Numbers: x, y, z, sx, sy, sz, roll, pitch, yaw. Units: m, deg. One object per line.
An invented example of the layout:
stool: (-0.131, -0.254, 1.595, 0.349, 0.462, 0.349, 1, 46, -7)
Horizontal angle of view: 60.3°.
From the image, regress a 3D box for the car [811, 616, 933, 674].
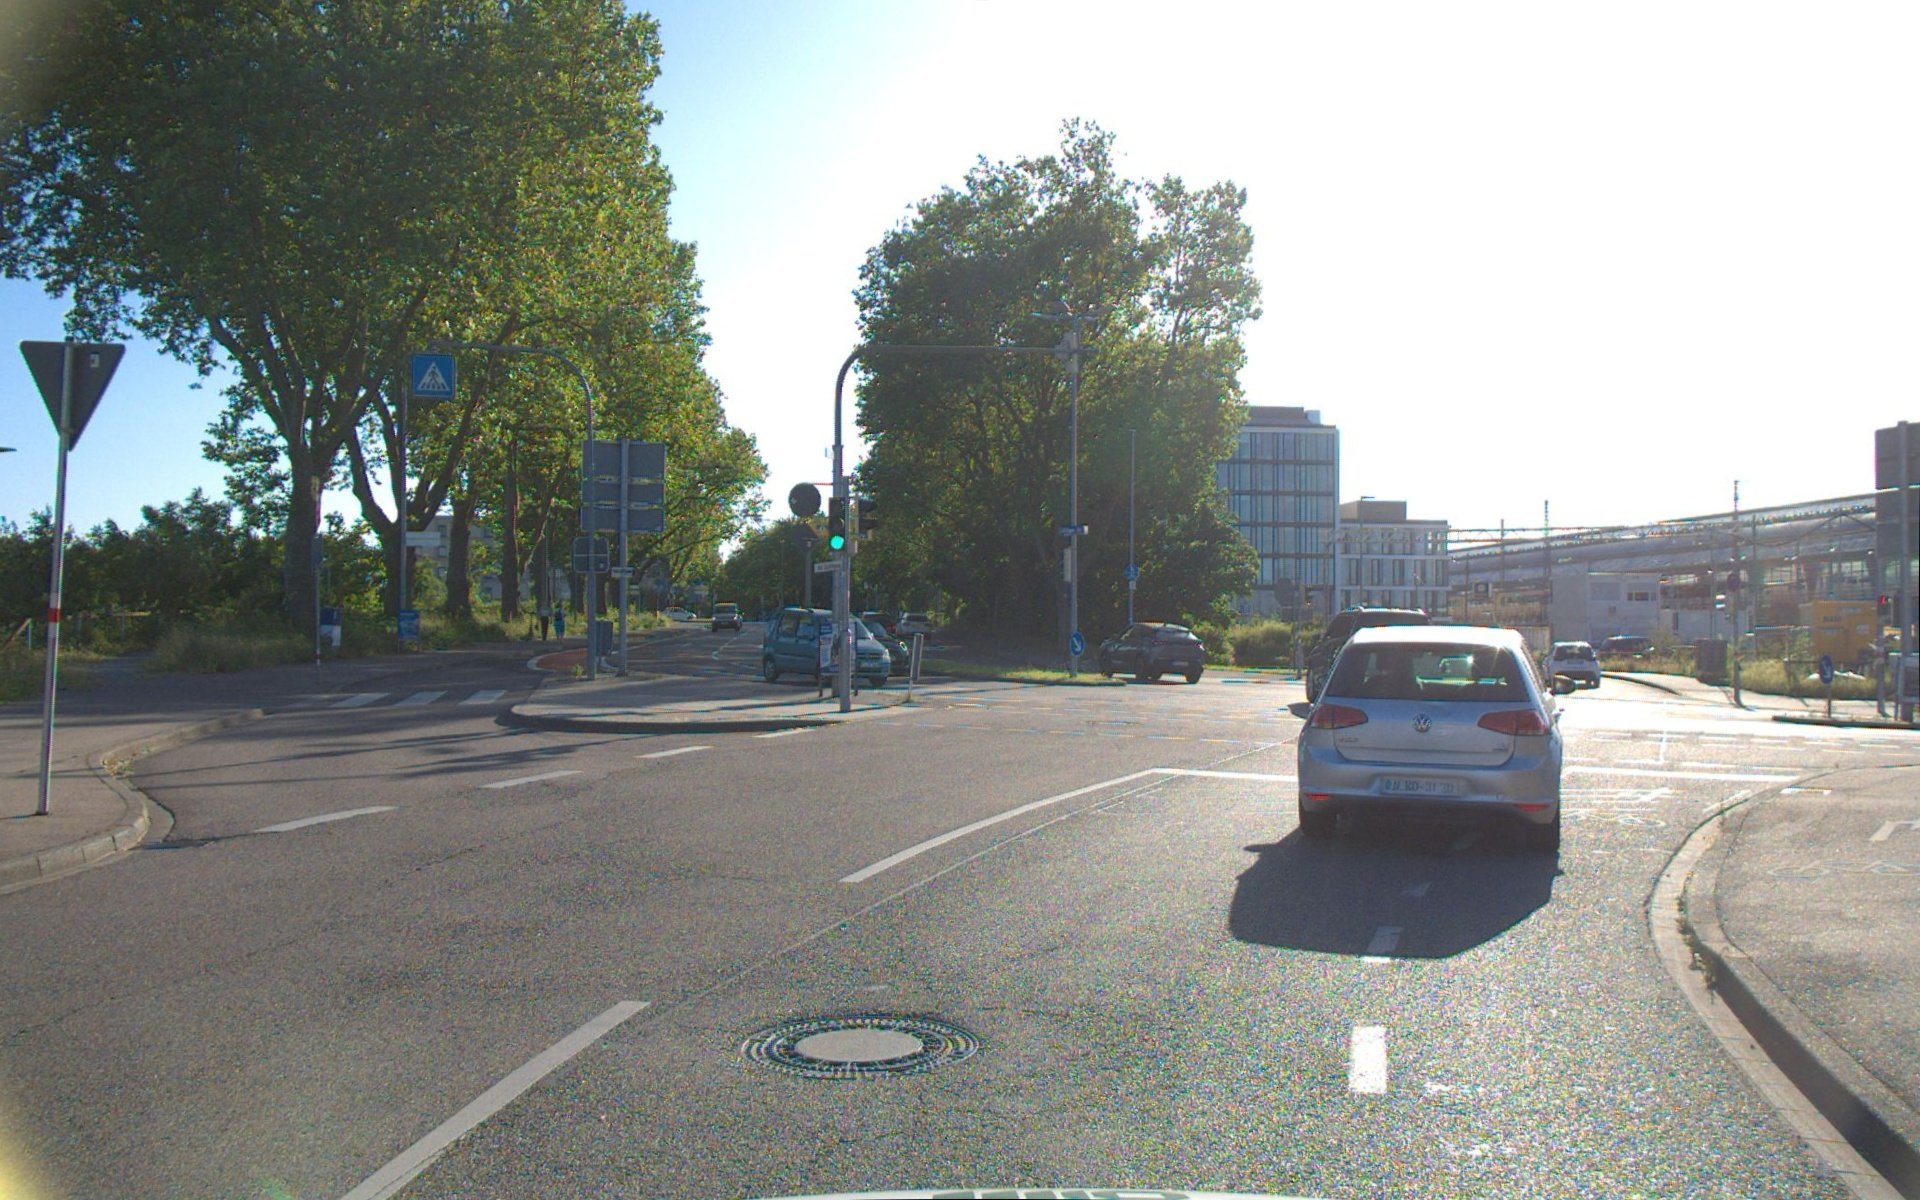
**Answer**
car: (-2.402, 1.188, 44.286, 1.879, 1.452, 3.903, 2, -1, -26)

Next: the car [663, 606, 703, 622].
car: (-29.795, 1.502, 177.803, 3.927, 1.669, 1.989, 1, -1, -19)

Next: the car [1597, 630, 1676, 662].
car: (39.024, 2.657, 95.472, 3.904, 1.735, 1.616, 2, -1, 1)

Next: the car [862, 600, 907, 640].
car: (-3.535, 0.944, 76.821, 1.818, 1.774, 4.260, 1, -1, -6)

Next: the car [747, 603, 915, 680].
car: (-3.000, 0.925, 37.815, 1.901, 1.664, 4.065, 2, -1, -38)

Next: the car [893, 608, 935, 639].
car: (-2.624, 1.320, 93.715, 1.819, 1.679, 4.257, 1, -1, -9)

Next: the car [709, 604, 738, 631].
car: (-15.818, 1.176, 110.878, 1.818, 1.774, 4.259, 0, -1, -7)

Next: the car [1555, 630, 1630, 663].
car: (37.993, 2.786, 99.393, 3.904, 1.819, 1.655, 2, -1, 1)

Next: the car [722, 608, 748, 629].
car: (-18.094, 1.516, 133.019, 1.818, 1.627, 4.319, 1, -1, -6)

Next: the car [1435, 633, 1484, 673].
car: (19.665, 2.061, 65.184, 1.711, 1.502, 4.002, 1, -1, 15)

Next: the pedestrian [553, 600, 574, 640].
pedestrian: (-16.383, 0.828, 68.404, 0.714, 1.620, 0.803, 1, -1, -5)

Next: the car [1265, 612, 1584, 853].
car: (3.542, 0.844, 12.303, 1.929, 1.452, 3.938, 1, -1, 19)

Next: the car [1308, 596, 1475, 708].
car: (8.015, 0.941, 31.170, 2.068, 1.920, 4.814, 1, -1, 3)

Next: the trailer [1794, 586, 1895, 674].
trailer: (36.064, 1.259, 67.644, 2.935, 3.349, 6.666, 1, -1, 22)

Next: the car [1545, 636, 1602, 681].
car: (21.940, 2.055, 59.252, 1.711, 1.502, 4.002, 1, -1, 18)

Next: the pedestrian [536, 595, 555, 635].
pedestrian: (-17.135, 0.628, 68.396, 0.650, 1.614, 0.630, 1, -1, -5)

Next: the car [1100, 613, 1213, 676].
car: (5.685, 1.271, 48.358, 1.909, 1.743, 4.184, 1, -1, -14)
